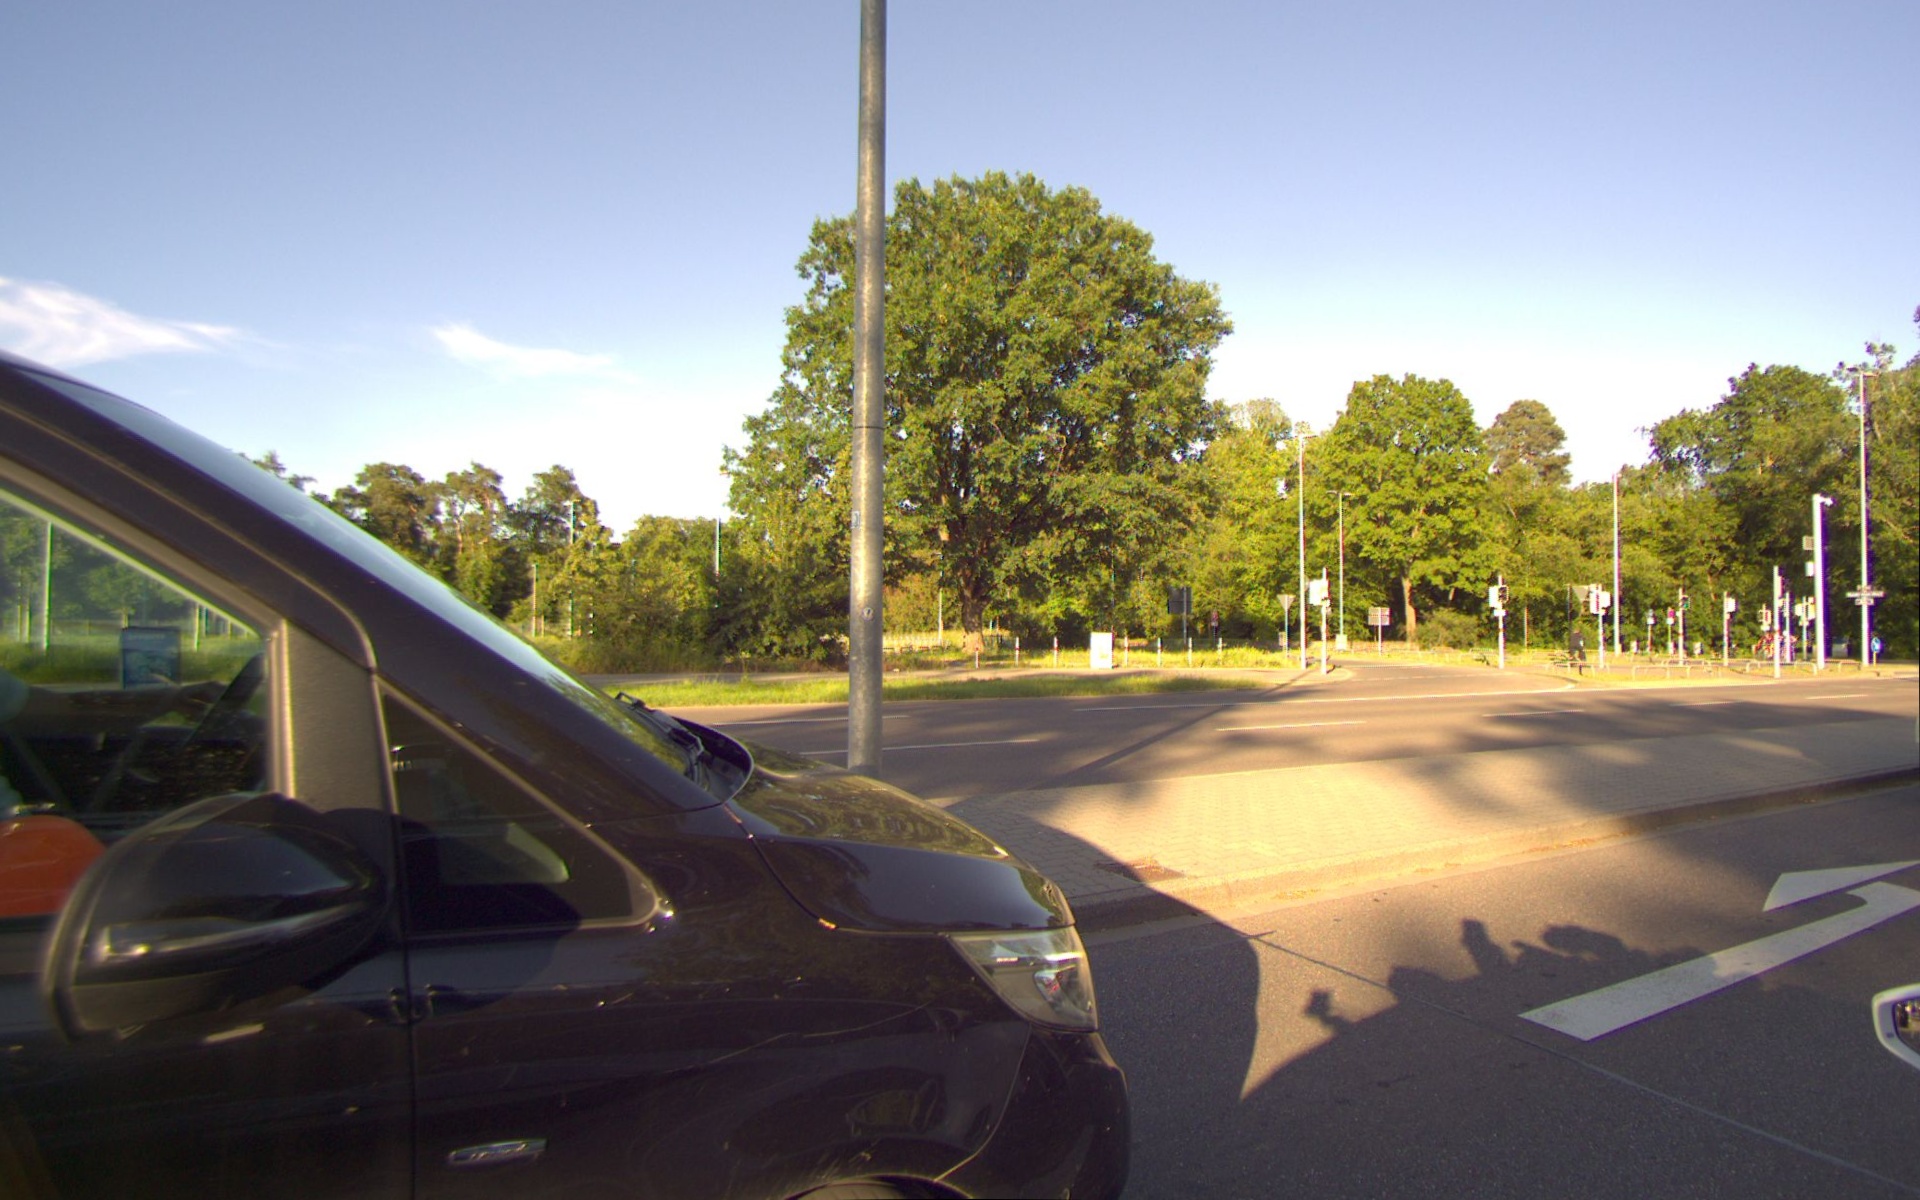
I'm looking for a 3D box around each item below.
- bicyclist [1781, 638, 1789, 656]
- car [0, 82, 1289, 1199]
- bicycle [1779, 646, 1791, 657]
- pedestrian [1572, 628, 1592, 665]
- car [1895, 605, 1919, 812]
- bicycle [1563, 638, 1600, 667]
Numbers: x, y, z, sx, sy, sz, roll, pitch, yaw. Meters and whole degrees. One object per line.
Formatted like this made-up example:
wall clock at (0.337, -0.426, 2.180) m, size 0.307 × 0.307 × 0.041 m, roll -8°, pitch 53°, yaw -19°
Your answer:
bicyclist at (44.125, 2.510, 53.715) m, size 0.238 × 0.975 × 0.271 m, roll 2°, pitch 0°, yaw -35°
car at (-1.979, 0.475, 1.304) m, size 4.817 × 1.881 × 1.897 m, roll 0°, pitch 1°, yaw -31°
bicycle at (44.136, 2.761, 53.729) m, size 0.831 × 0.589 × 0.264 m, roll 2°, pitch 0°, yaw -36°
pedestrian at (26.732, 1.986, 43.166) m, size 0.641 × 1.583 × 0.479 m, roll 2°, pitch 0°, yaw -30°
car at (9.689, 0.901, 8.277) m, size 4.382 × 1.602 × 1.710 m, roll 1°, pitch 0°, yaw -30°
bicycle at (26.694, 2.249, 43.136) m, size 1.980 × 1.193 × 0.466 m, roll 2°, pitch 0°, yaw -31°
